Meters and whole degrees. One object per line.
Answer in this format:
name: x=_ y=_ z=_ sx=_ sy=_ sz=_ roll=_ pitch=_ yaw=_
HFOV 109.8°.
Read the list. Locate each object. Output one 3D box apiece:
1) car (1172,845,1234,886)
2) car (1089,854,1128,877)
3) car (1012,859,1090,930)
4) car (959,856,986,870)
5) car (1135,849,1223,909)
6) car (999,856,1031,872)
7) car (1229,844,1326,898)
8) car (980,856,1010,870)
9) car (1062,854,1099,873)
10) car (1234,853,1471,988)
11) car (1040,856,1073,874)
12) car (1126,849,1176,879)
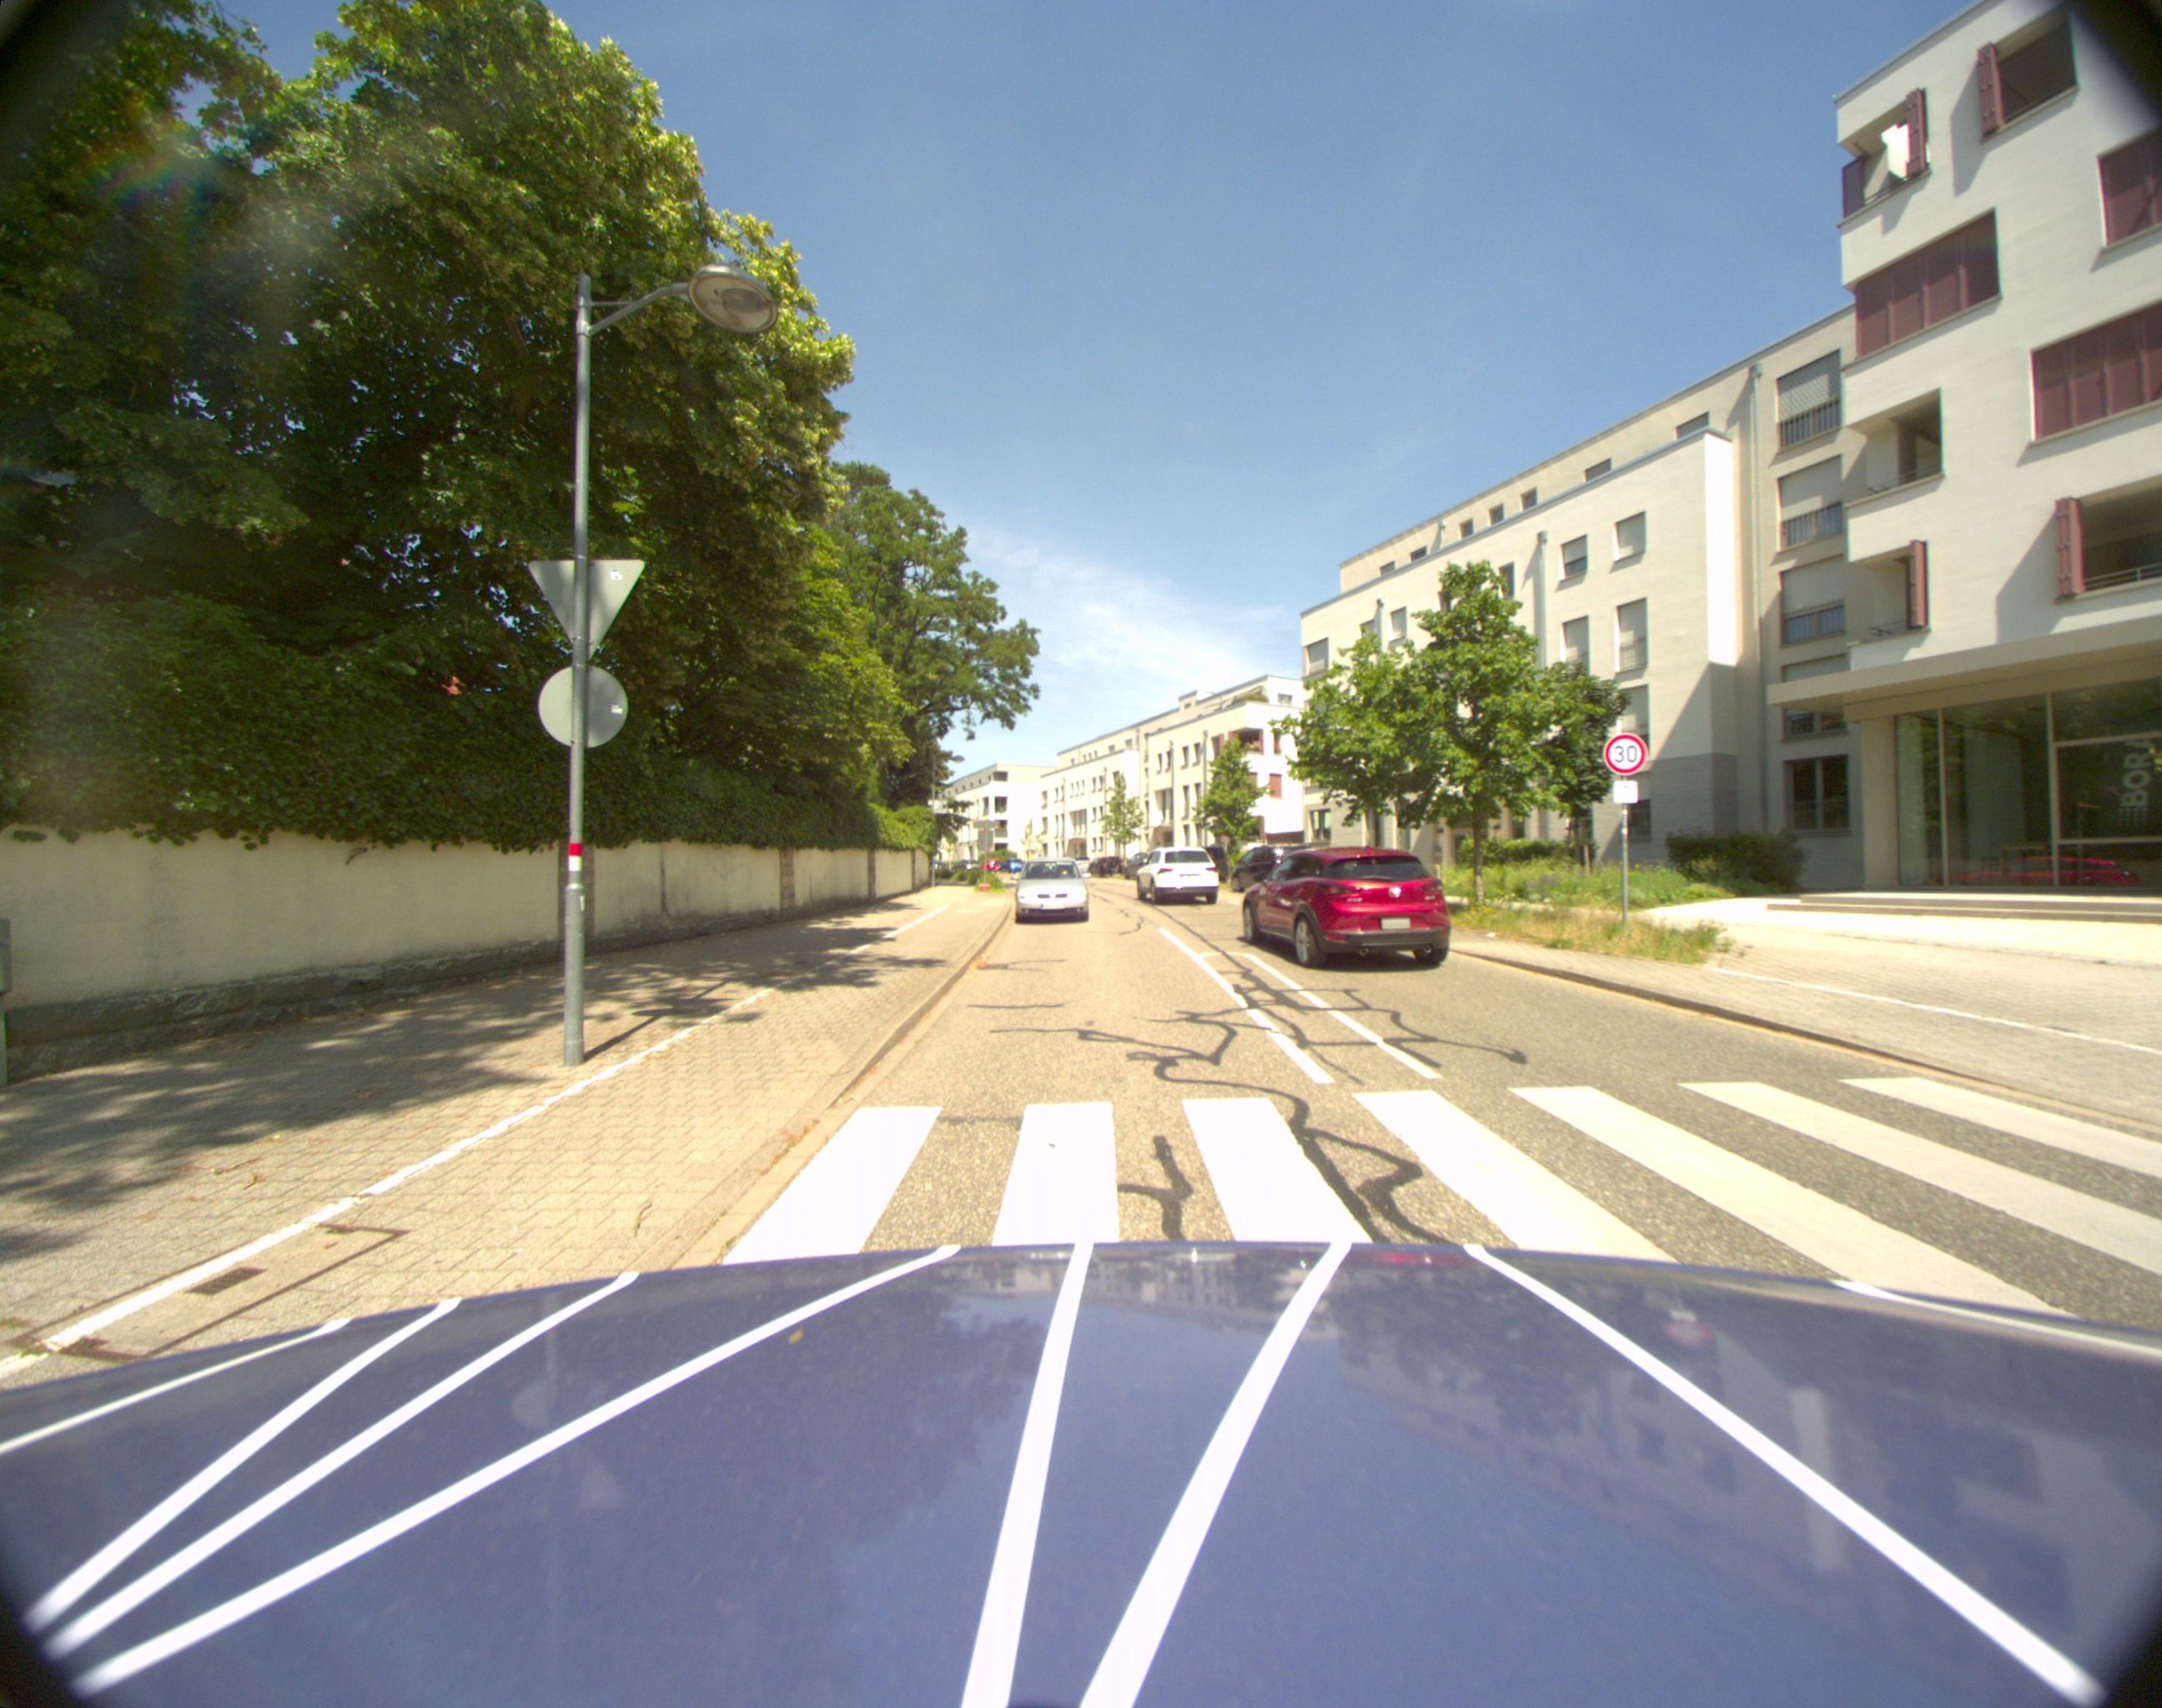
car: x=5.370 y=0.477 z=33.837 sx=1.699 sy=1.690 sz=3.625 roll=-1 pitch=0 yaw=-8
car: x=1.826 y=0.752 z=51.538 sx=1.708 sy=1.405 sz=3.623 roll=-1 pitch=0 yaw=-14
car: x=-0.677 y=0.871 z=18.127 sx=1.607 sy=1.443 sz=3.999 roll=-1 pitch=0 yaw=-1
car: x=-11.952 y=0.983 z=83.505 sx=1.710 sy=1.405 sz=3.713 roll=-2 pitch=1 yaw=-29
car: x=2.804 y=0.668 z=22.695 sx=1.816 sy=1.599 sz=4.118 roll=-1 pitch=0 yaw=-4
car: x=-6.357 y=0.945 z=72.851 sx=1.710 sy=1.405 sz=3.713 roll=-2 pitch=1 yaw=-29
car: x=6.448 y=0.520 z=25.380 sx=1.699 sy=1.628 sz=4.018 roll=-1 pitch=0 yaw=-8
car: x=-8.799 y=0.932 z=77.762 sx=1.710 sy=1.405 sz=3.713 roll=-2 pitch=1 yaw=-29
car: x=-0.077 y=0.688 z=57.598 sx=1.708 sy=1.405 sz=3.716 roll=-1 pitch=0 yaw=-17
car: x=3.524 y=0.766 z=10.703 sx=1.755 sy=1.496 sz=3.991 roll=-1 pitch=0 yaw=-2
car: x=-2.077 y=0.894 z=63.923 sx=1.709 sy=1.405 sz=3.715 roll=-1 pitch=0 yaw=-20
car: x=3.931 y=0.524 z=43.313 sx=1.792 sy=1.580 sz=3.623 roll=-1 pitch=0 yaw=-13
